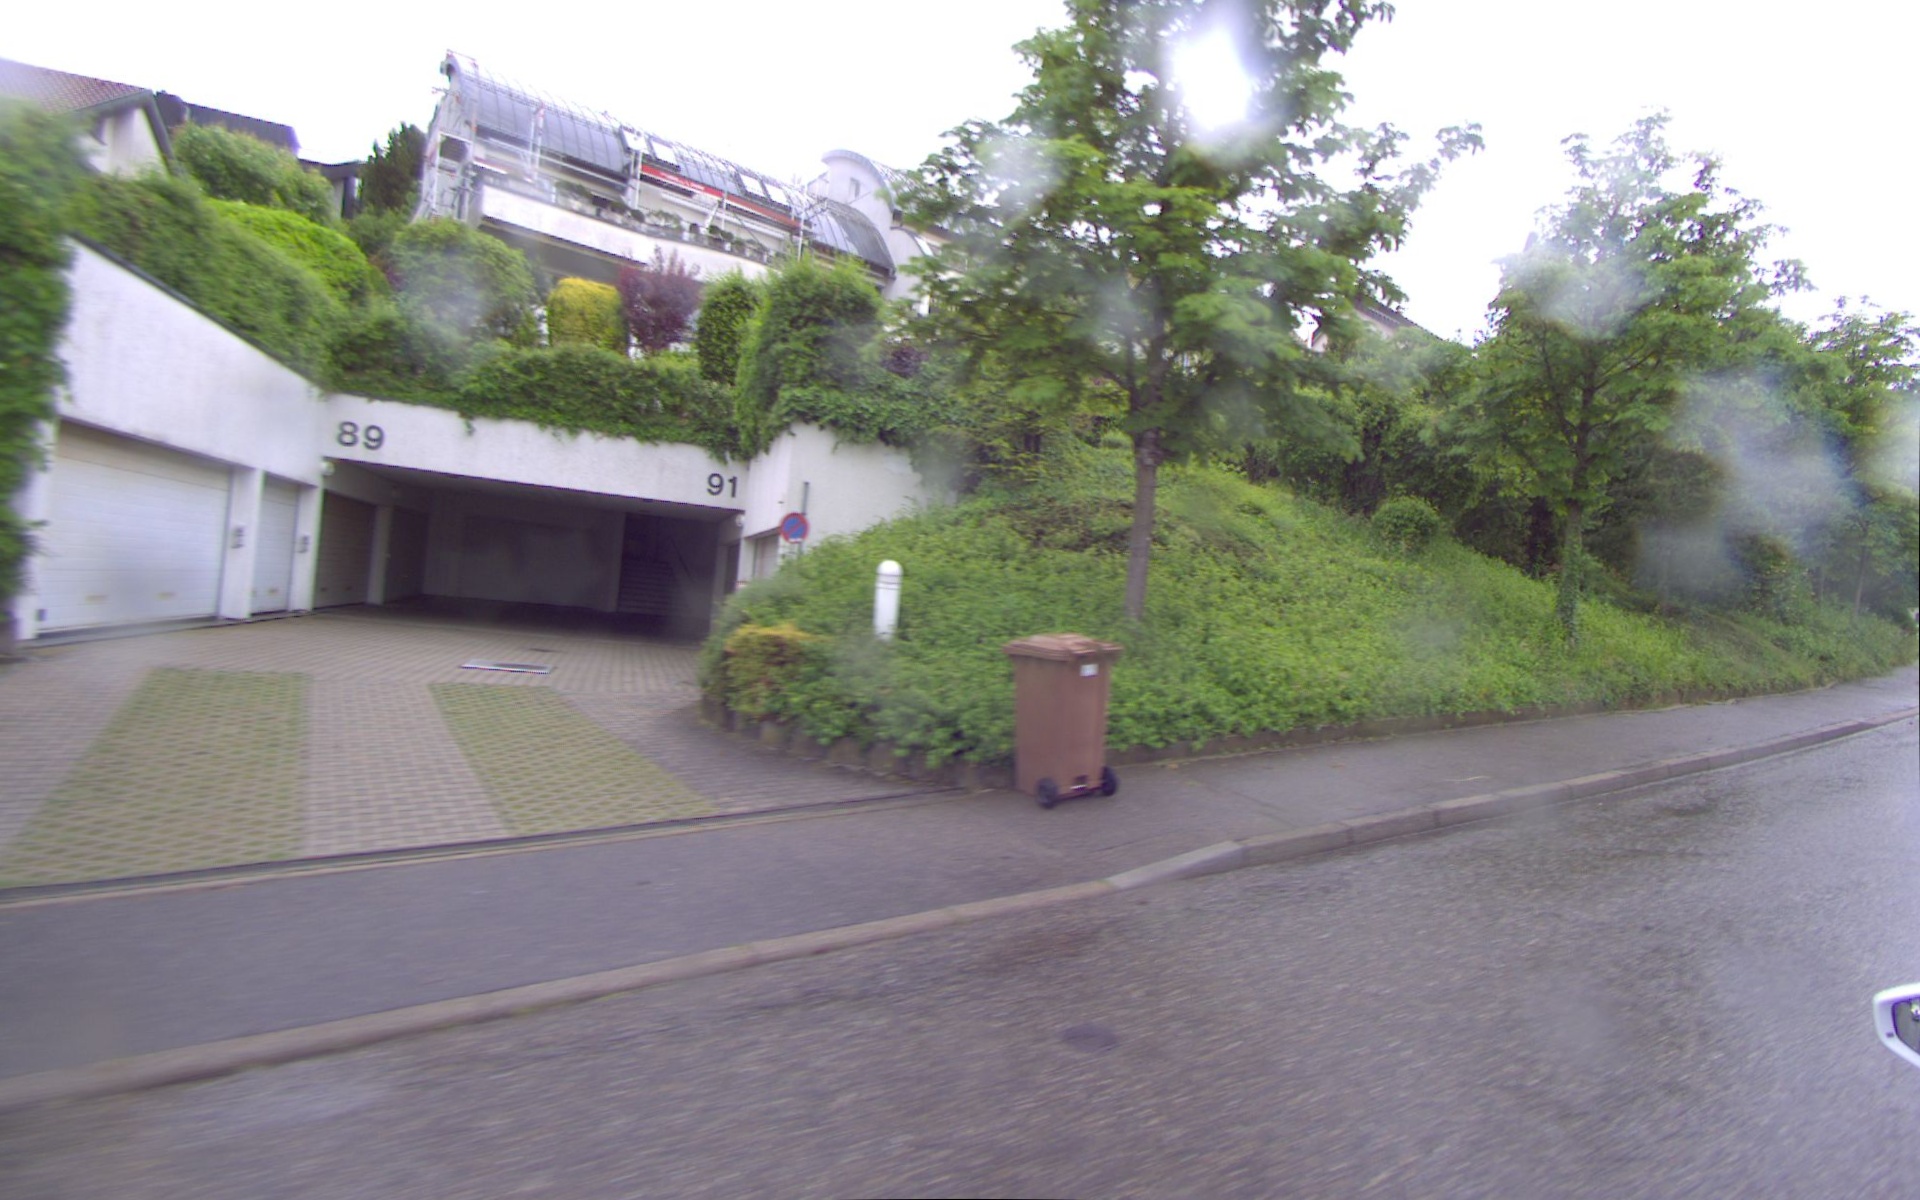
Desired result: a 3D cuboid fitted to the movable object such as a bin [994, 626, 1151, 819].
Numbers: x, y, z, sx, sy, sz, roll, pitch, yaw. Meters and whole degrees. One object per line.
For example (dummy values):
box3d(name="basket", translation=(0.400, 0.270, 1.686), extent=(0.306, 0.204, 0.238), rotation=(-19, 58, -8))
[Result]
box3d(name="movable object such as a bin", translation=(0.742, 0.776, 6.713), extent=(0.793, 1.105, 0.691), rotation=(-3, 5, -30))
